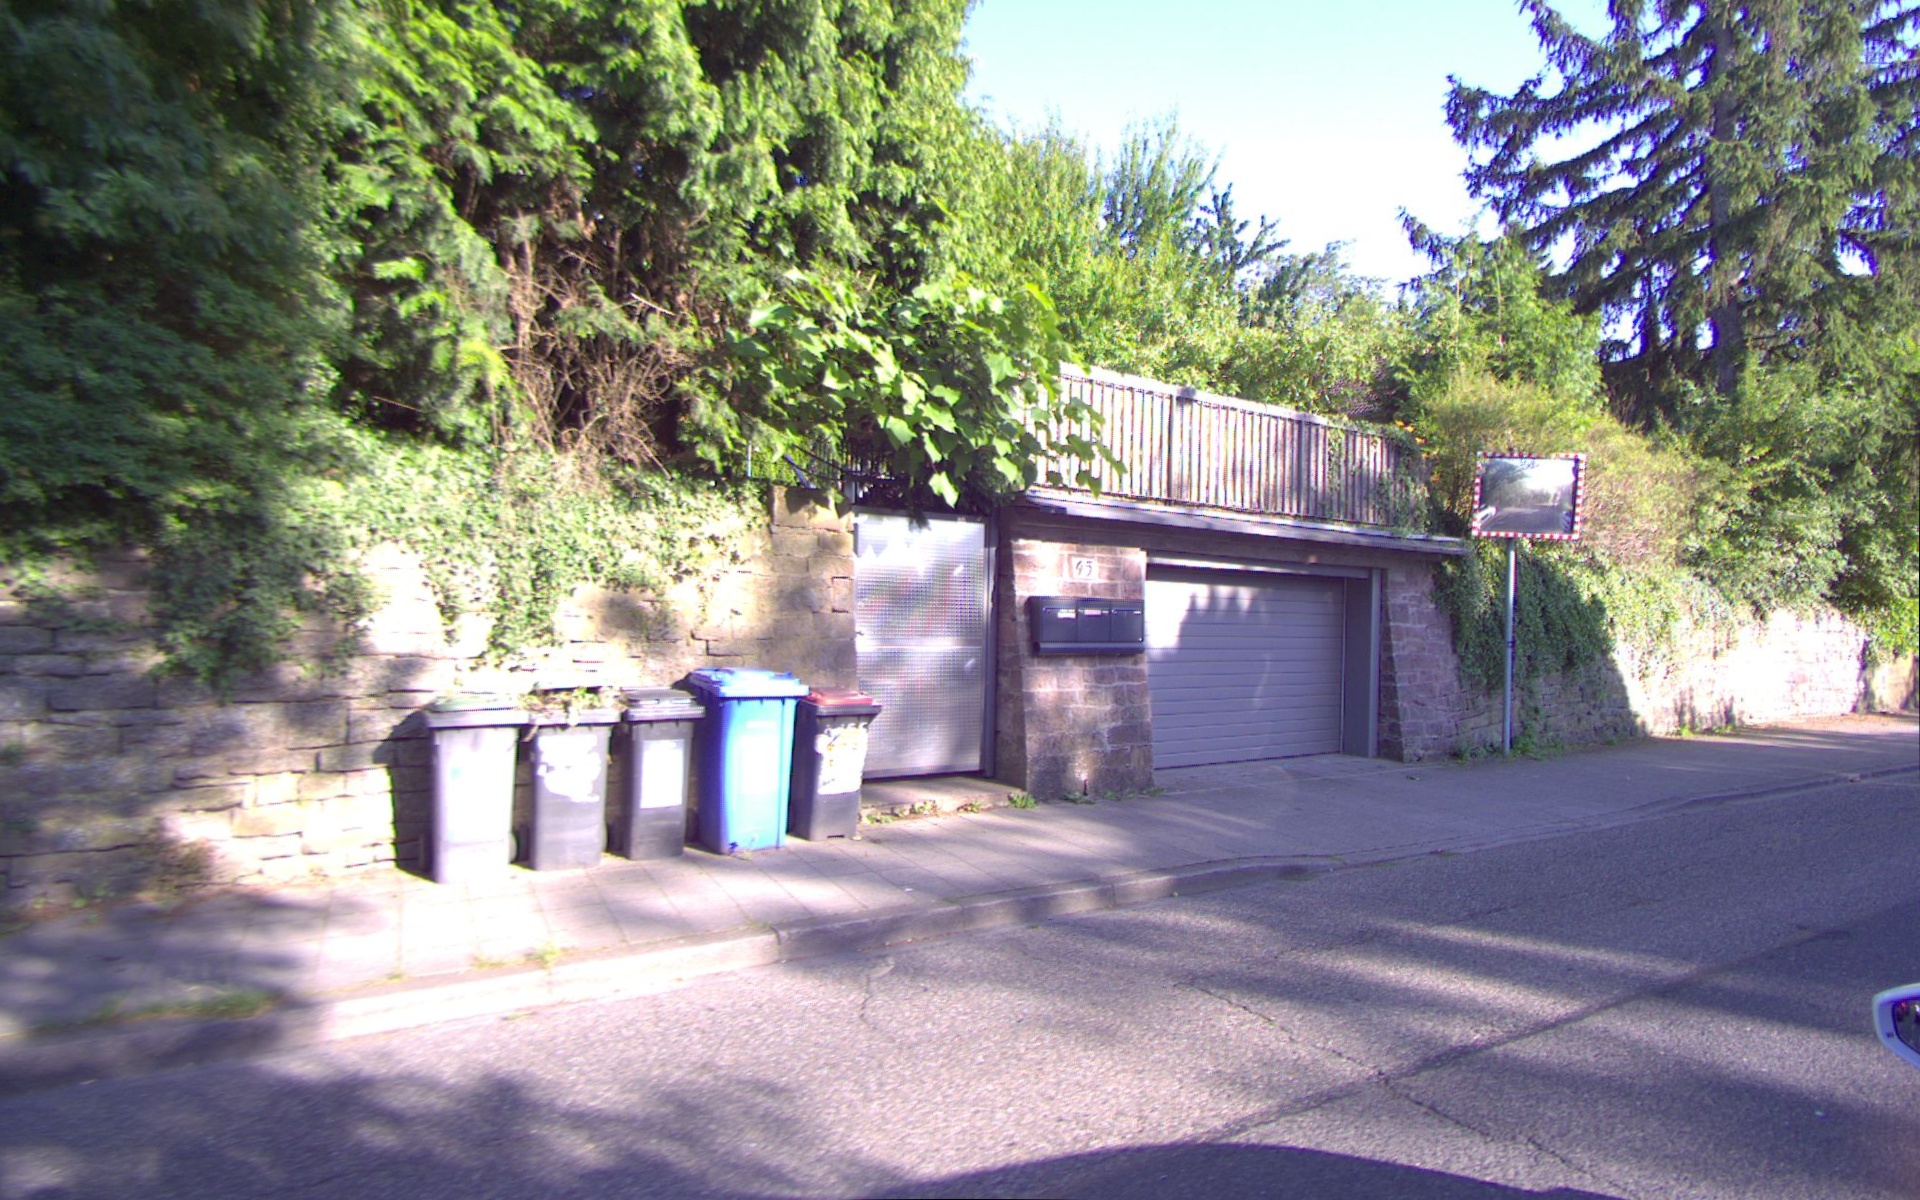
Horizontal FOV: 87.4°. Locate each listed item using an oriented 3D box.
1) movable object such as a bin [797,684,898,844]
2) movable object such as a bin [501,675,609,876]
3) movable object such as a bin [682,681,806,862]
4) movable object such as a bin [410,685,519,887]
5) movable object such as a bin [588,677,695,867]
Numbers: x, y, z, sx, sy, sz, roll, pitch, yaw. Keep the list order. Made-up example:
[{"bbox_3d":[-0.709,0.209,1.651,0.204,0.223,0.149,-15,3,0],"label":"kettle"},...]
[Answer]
[{"bbox_3d":[-0.743,1.049,6.596,0.434,0.937,0.570,2,0,-32],"label":"movable object such as a bin"},{"bbox_3d":[-2.261,0.942,5.589,0.434,0.998,0.570,2,0,-32],"label":"movable object such as a bin"},{"bbox_3d":[-1.309,1.005,6.076,0.577,0.977,0.487,2,0,-33],"label":"movable object such as a bin"},{"bbox_3d":[-2.646,0.953,5.347,0.434,0.950,0.580,2,0,-32],"label":"movable object such as a bin"},{"bbox_3d":[-1.870,0.972,5.875,0.434,0.998,0.570,2,0,-32],"label":"movable object such as a bin"}]
